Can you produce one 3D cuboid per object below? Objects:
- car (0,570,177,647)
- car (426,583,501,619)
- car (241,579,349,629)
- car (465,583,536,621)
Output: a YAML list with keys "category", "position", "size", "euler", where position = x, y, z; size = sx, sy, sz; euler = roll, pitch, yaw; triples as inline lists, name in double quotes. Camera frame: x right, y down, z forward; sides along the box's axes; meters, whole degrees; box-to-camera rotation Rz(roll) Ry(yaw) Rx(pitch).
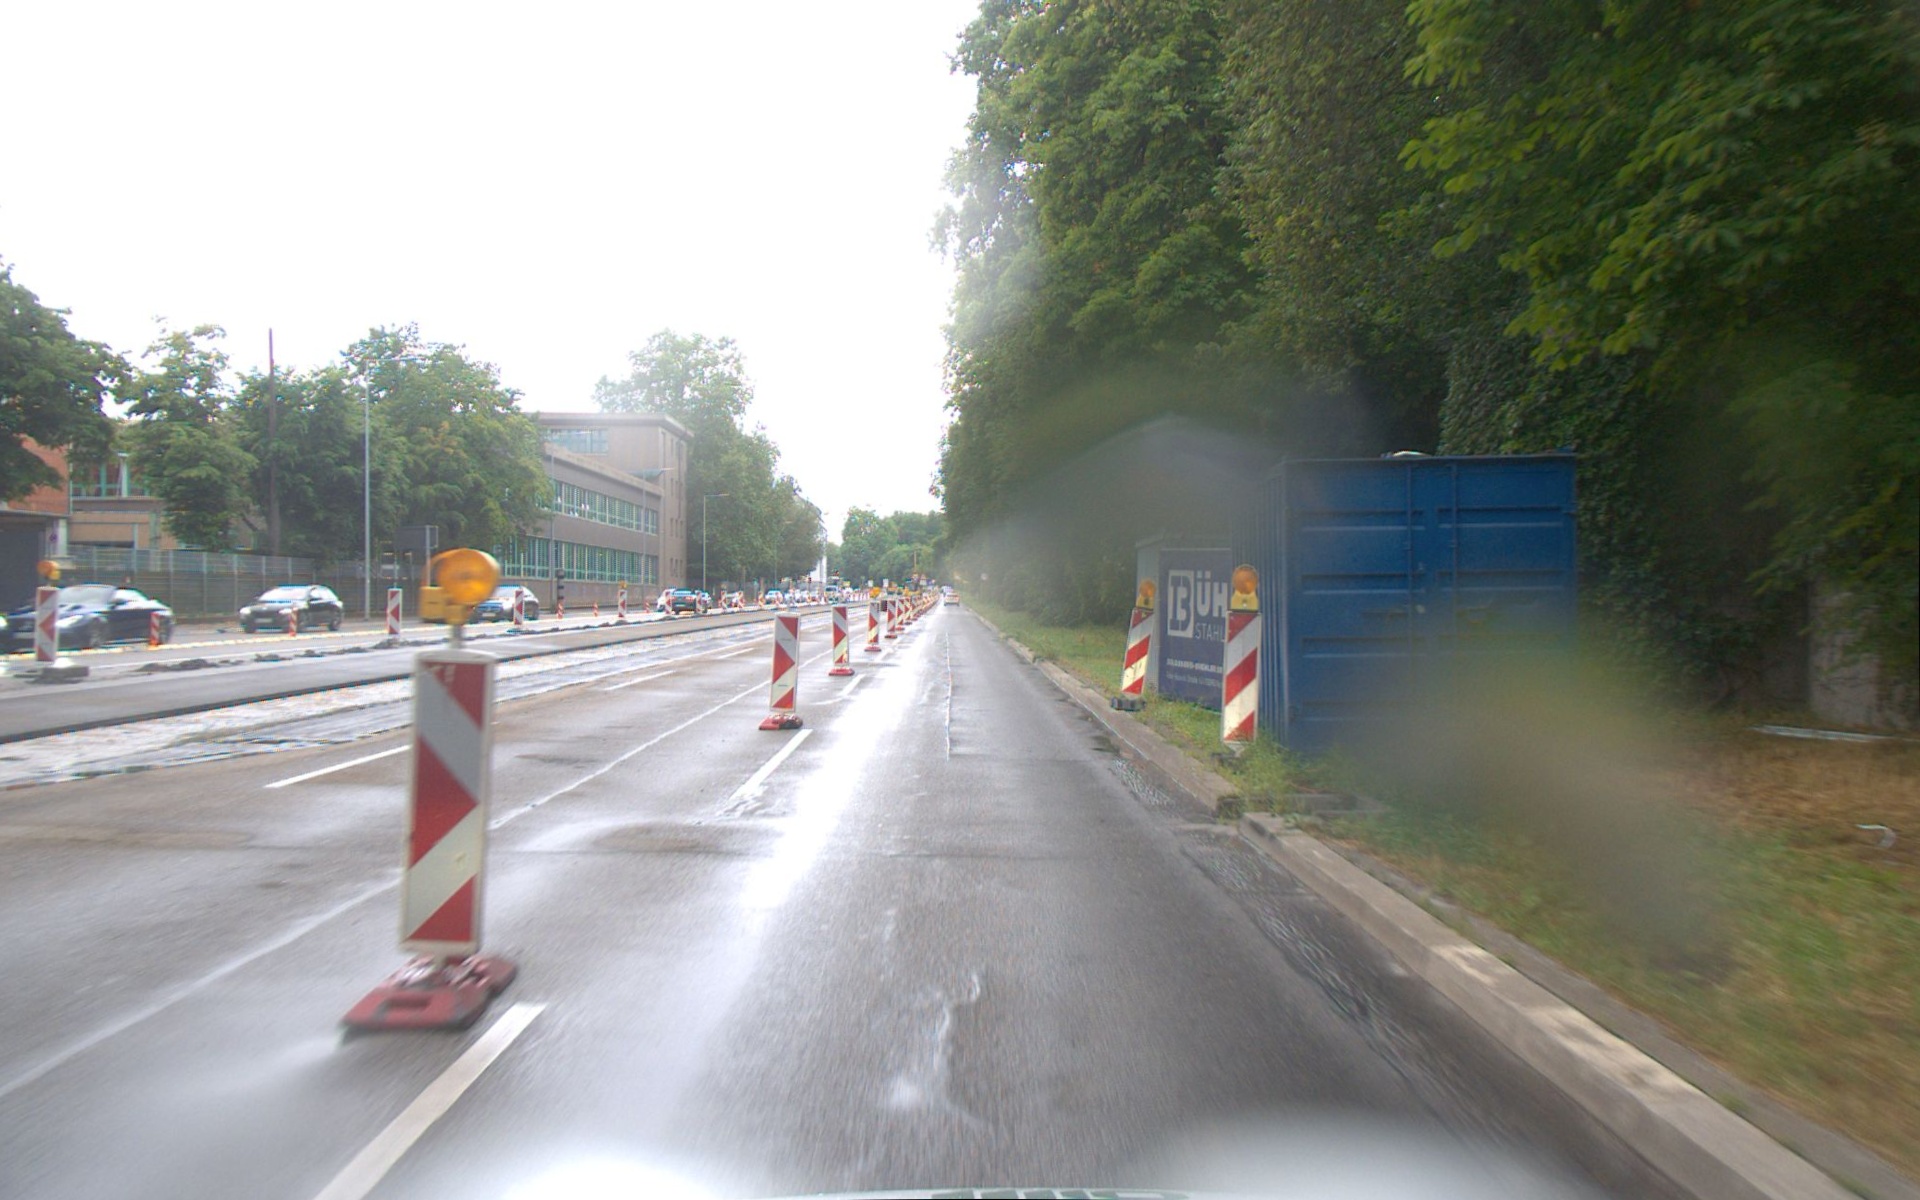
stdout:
- category: "car"
  position: [-17.950, 0.155, 33.825]
  size: [1.930, 1.467, 4.000]
  euler: [0, 0, 0]
- category: "car"
  position: [-21.026, 0.013, 70.171]
  size: [1.930, 1.467, 4.000]
  euler: [0, 0, 0]
- category: "car"
  position: [-20.462, 0.097, 51.078]
  size: [1.688, 1.467, 4.000]
  euler: [0, 0, 0]
- category: "car"
  position: [-18.312, 0.063, 66.017]
  size: [1.688, 1.467, 4.000]
  euler: [0, 0, 0]
